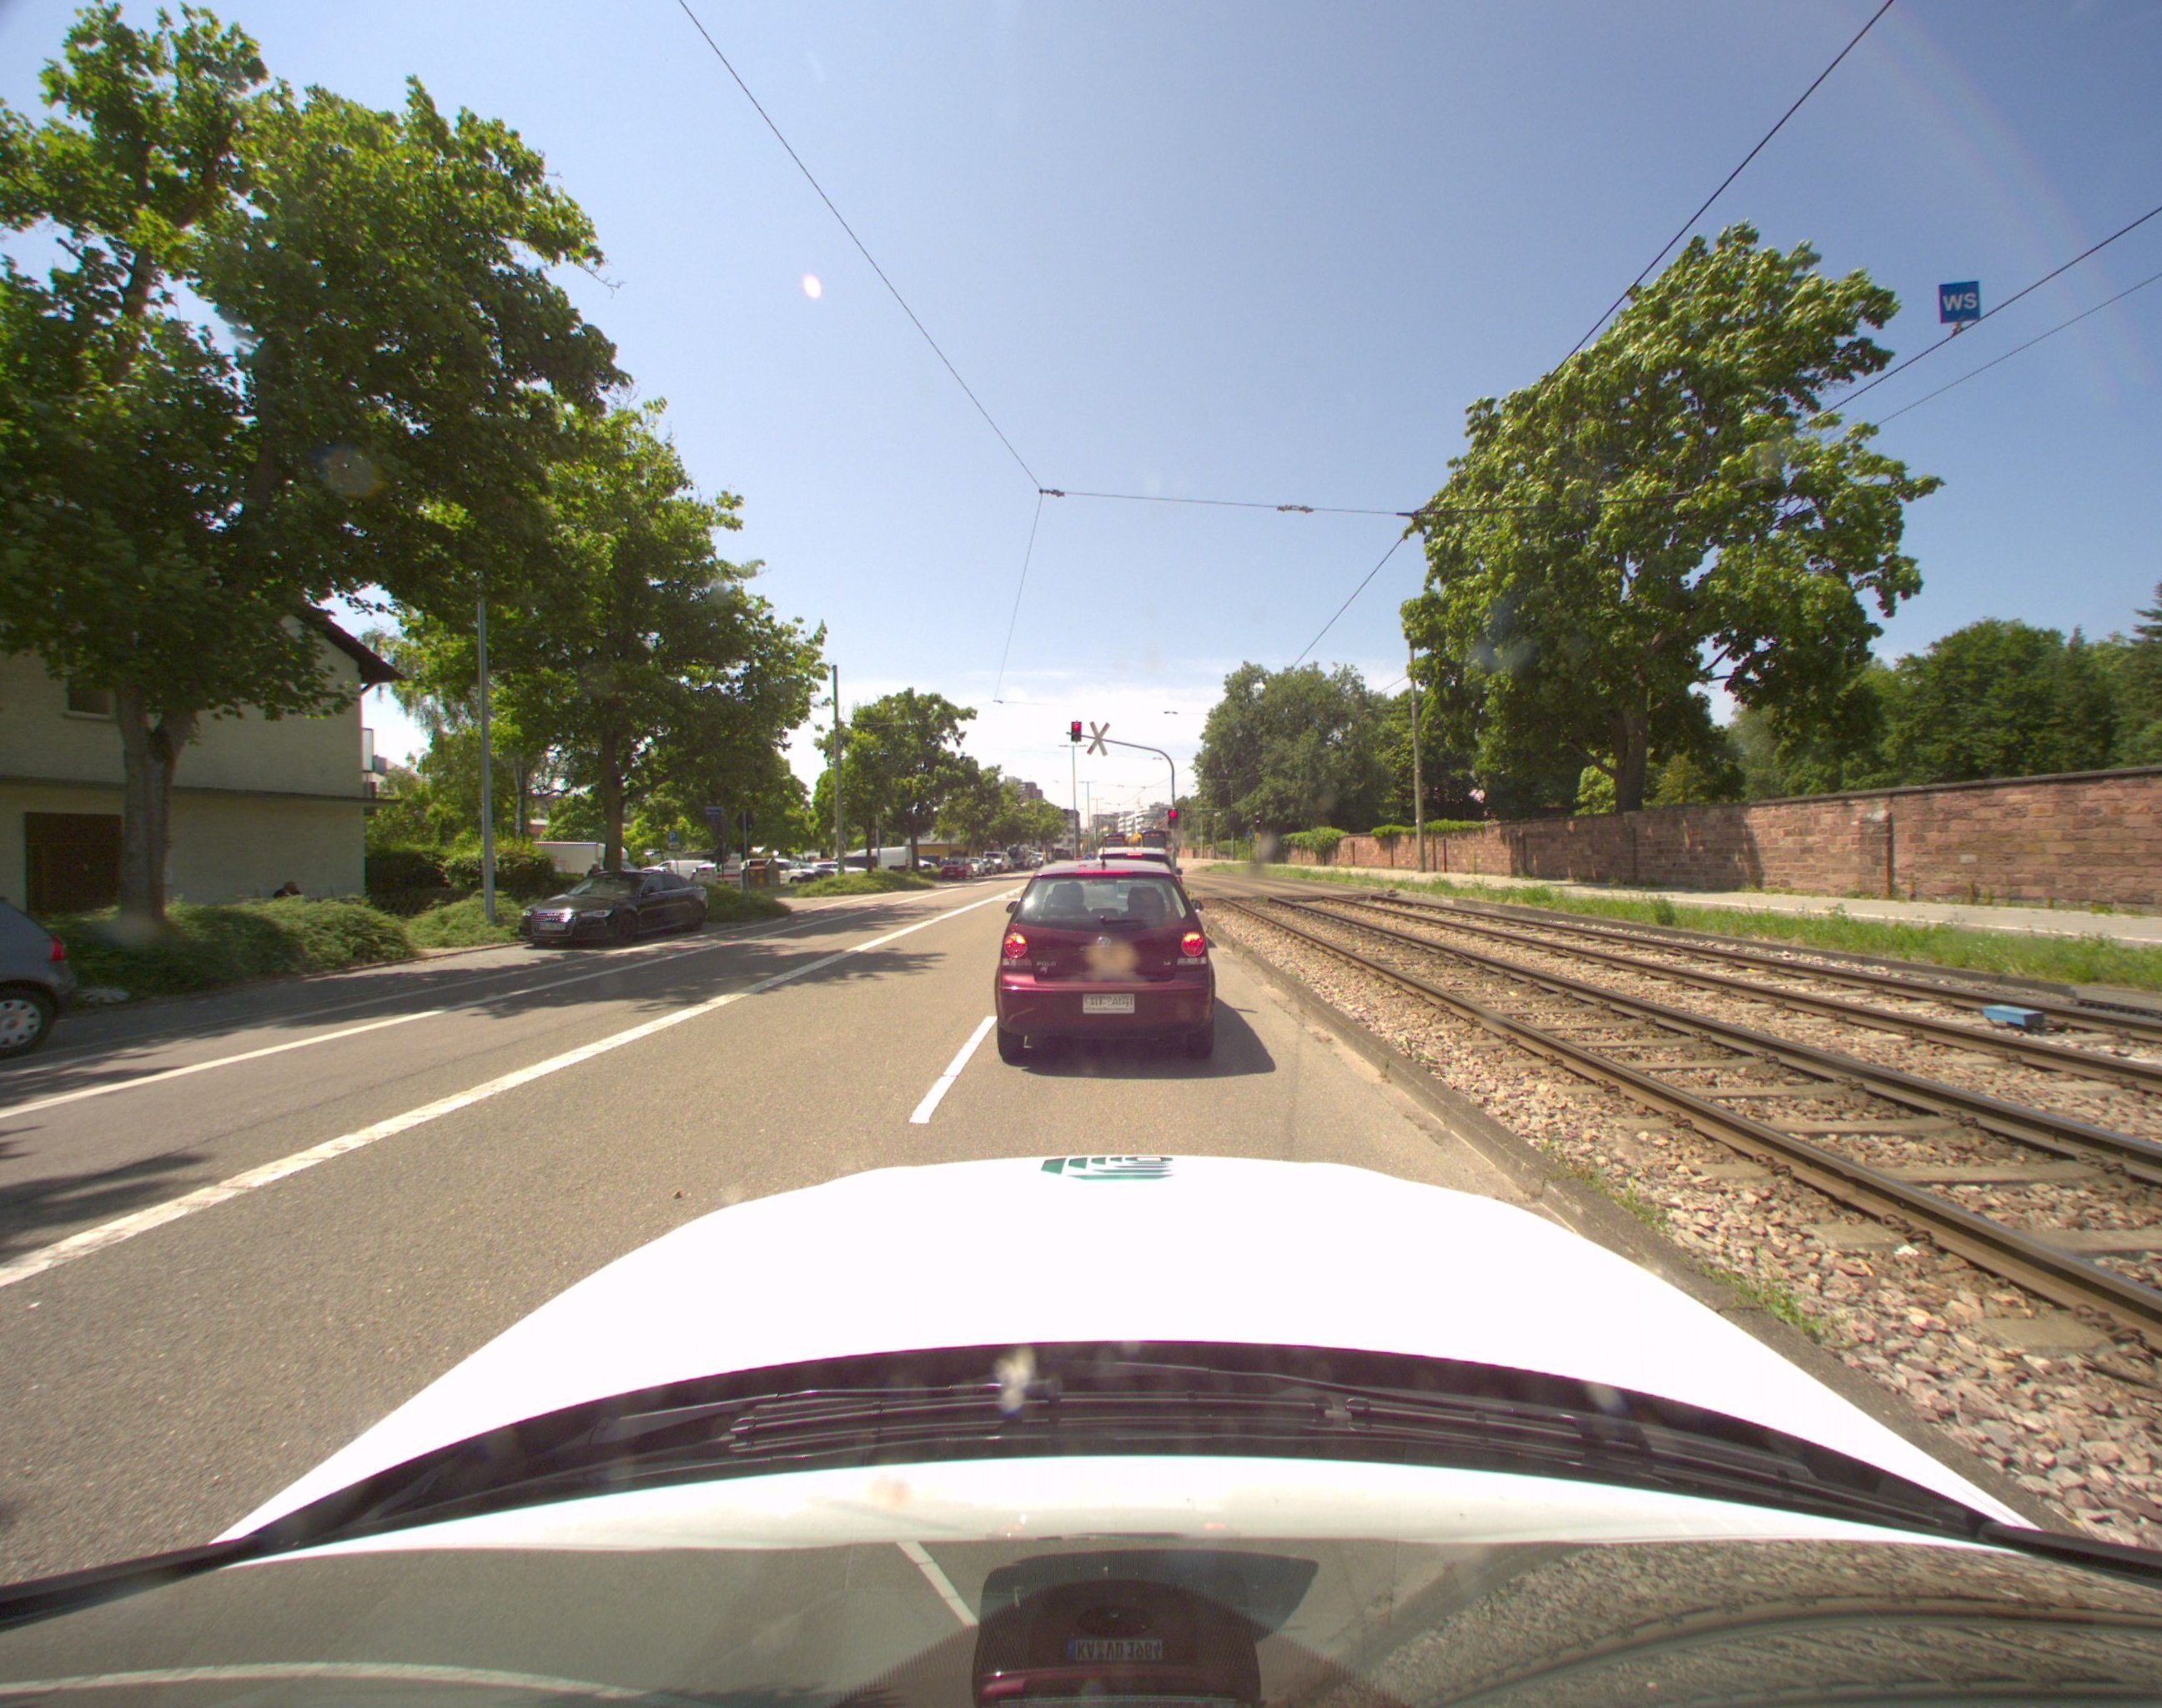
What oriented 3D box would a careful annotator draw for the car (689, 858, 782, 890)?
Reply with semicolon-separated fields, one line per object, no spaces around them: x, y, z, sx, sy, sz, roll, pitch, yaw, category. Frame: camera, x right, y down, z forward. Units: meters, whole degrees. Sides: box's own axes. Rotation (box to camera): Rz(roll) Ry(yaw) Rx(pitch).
-19.313;1.118;45.650;4.329;1.585;1.912;-2;0;-1;car

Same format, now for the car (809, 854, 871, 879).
-18.137;0.921;61.477;3.973;1.746;1.998;-2;0;0;car

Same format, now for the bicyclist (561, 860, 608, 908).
-14.535;0.878;23.851;0.805;1.374;0.829;1;-1;5;bicyclist

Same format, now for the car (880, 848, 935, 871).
-17.684;0.580;83.208;5.076;2.244;2.380;1;-1;3;car

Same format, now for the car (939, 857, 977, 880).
-8.288;0.944;55.131;1.655;1.497;4.004;1;-1;4;car

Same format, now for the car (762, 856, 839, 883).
-18.372;1.009;53.443;4.319;1.585;1.917;-2;0;8;car

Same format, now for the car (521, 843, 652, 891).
-31.408;0.826;51.873;6.828;2.965;2.364;1;-1;0;car

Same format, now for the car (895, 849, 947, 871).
-17.318;0.638;88.314;5.076;2.244;2.380;1;-1;3;car

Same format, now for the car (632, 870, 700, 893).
-30.380;1.993;59.716;3.982;1.653;1.812;1;-1;-7;car

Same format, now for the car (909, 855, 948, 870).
-17.352;0.992;92.720;4.004;1.617;1.818;1;-1;3;car

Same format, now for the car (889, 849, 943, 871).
-17.322;0.610;85.716;5.076;2.244;2.380;1;-1;3;car

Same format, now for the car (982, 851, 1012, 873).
-7.403;0.686;71.912;1.774;1.881;4.792;1;-1;5;car

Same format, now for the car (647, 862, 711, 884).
-30.641;1.428;62.143;3.982;1.653;1.812;1;-1;-7;car

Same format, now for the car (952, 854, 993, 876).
-8.178;0.808;61.683;1.965;1.601;4.566;1;-1;6;car

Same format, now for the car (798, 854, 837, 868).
-31.521;0.889;97.311;4.006;1.617;1.816;1;-1;0;car

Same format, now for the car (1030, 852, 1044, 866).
-5.823;0.675;108.226;1.771;1.828;3.995;1;-1;-3;car

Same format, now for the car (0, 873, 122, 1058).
-10.241;0.974;5.794;1.812;1.564;4.182;0;0;1;car

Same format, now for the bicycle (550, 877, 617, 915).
-14.549;1.217;23.898;0.697;1.029;1.831;1;-1;5;bicycle

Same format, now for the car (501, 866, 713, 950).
-9.833;1.030;17.389;1.812;1.476;4.450;0;0;1;car

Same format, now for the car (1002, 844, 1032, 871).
-6.646;0.345;84.949;2.352;2.692;5.311;1;-1;3;car

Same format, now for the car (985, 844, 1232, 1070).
0.228;0.687;7.497;1.666;1.521;4.001;0;0;1;car

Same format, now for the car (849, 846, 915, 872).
-17.533;0.440;71.903;5.076;2.244;2.380;1;-1;3;car

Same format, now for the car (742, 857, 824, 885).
-18.490;1.025;50.554;4.319;1.585;1.917;-2;0;7;car

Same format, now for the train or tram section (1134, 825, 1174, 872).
6.577;-0.494;75.040;3.016;3.797;13.099;-2;0;3;train or tram section

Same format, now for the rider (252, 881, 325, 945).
-17.940;1.317;18.452;0.820;1.374;0.814;-2;0;10;rider

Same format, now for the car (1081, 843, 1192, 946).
0.936;0.640;15.119;1.770;1.647;4.001;0;0;1;car

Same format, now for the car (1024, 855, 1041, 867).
-6.058;0.921;102.138;1.606;1.441;4.006;1;-1;5;car

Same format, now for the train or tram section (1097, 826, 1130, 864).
3.242;-0.877;84.619;2.732;3.609;12.866;1;0;0;train or tram section

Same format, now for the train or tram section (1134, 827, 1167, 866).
7.343;-0.804;88.069;3.016;3.797;13.099;-2;0;3;train or tram section
